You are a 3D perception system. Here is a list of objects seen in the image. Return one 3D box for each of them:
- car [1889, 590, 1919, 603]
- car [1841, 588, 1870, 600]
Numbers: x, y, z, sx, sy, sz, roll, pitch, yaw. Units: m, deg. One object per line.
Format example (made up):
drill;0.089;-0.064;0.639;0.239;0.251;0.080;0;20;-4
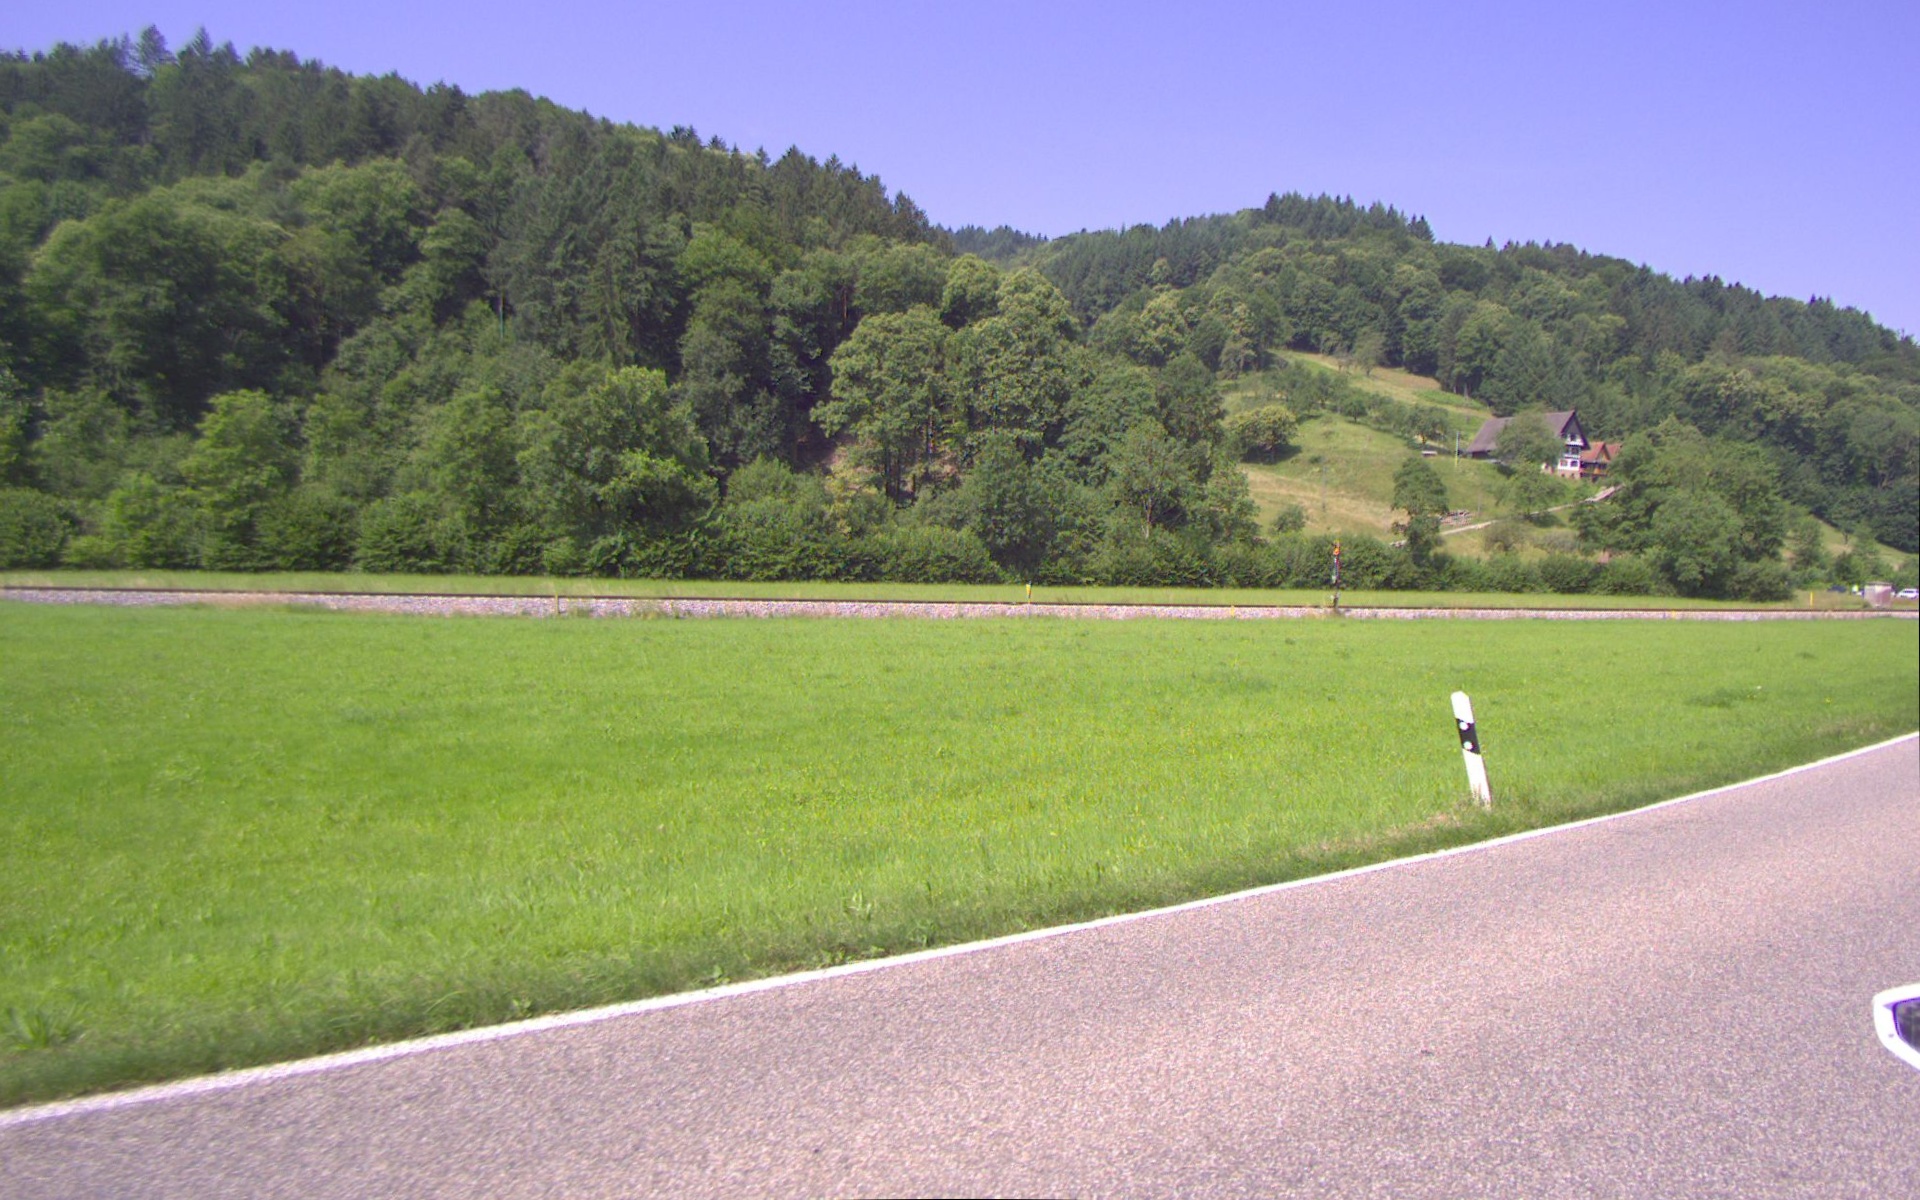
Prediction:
car;129.707;-0.454;137.927;4.849;1.663;1.981;0;2;-33
car;126.650;-0.841;142.063;4.477;1.521;1.980;0;4;-36
